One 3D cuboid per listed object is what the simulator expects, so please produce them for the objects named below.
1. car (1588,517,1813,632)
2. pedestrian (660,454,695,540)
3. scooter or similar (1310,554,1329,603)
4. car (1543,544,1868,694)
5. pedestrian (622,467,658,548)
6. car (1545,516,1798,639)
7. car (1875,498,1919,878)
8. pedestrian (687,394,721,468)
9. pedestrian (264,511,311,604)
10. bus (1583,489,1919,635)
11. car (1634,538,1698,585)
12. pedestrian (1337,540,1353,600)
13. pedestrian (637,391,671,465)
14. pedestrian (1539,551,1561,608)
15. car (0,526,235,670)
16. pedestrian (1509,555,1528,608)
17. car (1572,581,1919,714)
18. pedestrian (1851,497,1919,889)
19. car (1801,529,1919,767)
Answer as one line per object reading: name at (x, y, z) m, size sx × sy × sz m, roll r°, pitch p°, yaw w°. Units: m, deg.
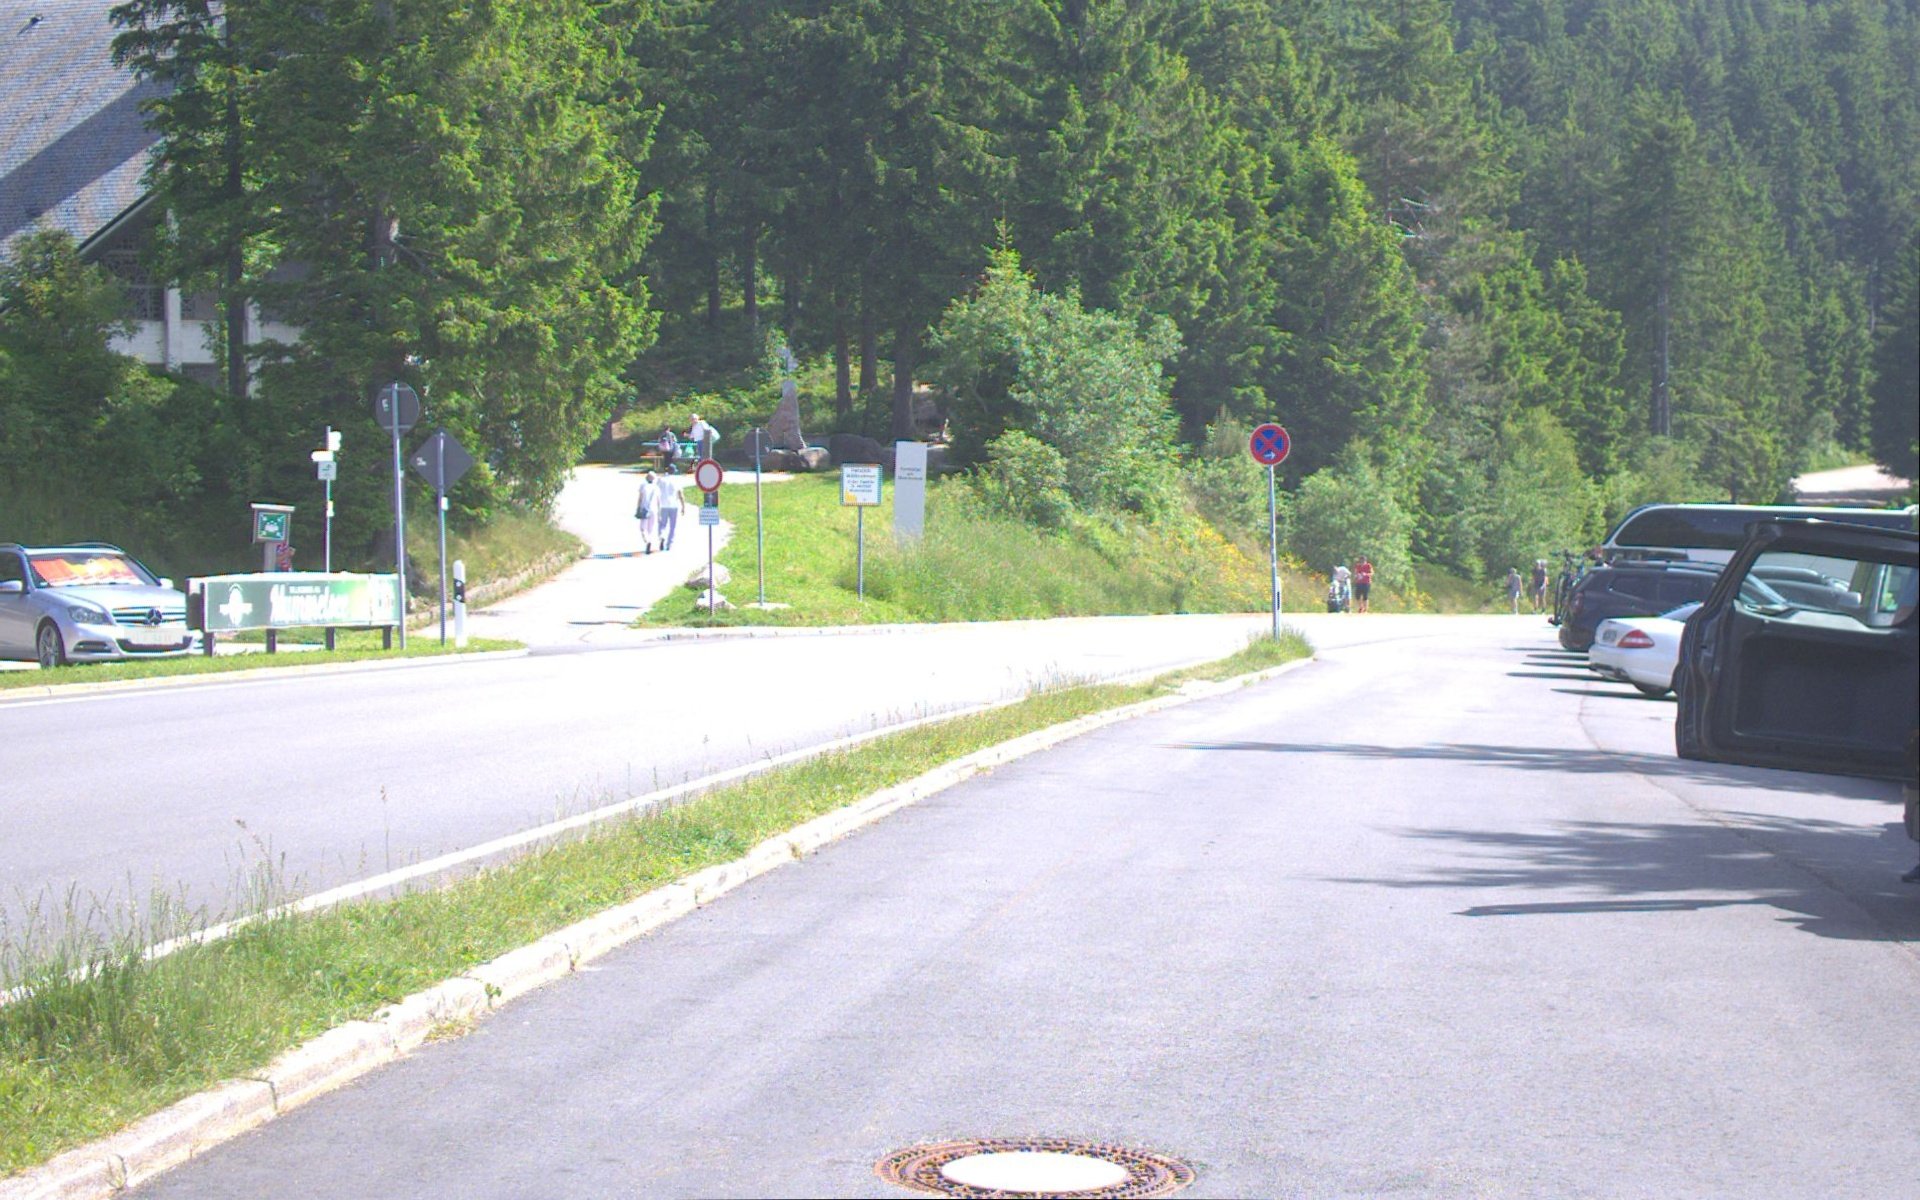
car at (14.010, -0.507, 65.166) m, size 3.989 × 1.808 × 1.939 m, roll 4°, pitch 3°, yaw 11°
pedestrian at (-5.909, -2.155, 71.921) m, size 0.652 × 1.793 × 0.643 m, roll 0°, pitch 1°, yaw 3°
scooter or similar at (10.475, -0.628, 100.113) m, size 0.483 × 1.375 × 0.817 m, roll -1°, pitch 2°, yaw 9°
car at (10.338, 0.241, 47.904) m, size 3.987 × 1.693 × 2.000 m, roll 4°, pitch 2°, yaw 2°
pedestrian at (-6.616, -1.910, 71.141) m, size 0.652 × 1.661 × 0.643 m, roll 0°, pitch -1°, yaw 3°
car at (11.967, -0.406, 58.067) m, size 3.989 × 1.713 × 1.867 m, roll 4°, pitch 3°, yaw 9°
car at (6.335, 0.560, 14.970) m, size 3.985 × 1.656 × 2.001 m, roll 5°, pitch 0°, yaw -19°
pedestrian at (-7.057, -4.651, 94.673) m, size 0.815 × 2.006 × 0.853 m, roll -1°, pitch 2°, yaw 1°
pedestrian at (-11.213, -0.717, 57.369) m, size 0.577 × 1.527 × 0.552 m, roll -1°, pitch 2°, yaw 9°
bus at (23.061, -1.023, 90.202) m, size 12.878 × 3.565 × 2.978 m, roll 2°, pitch 3°, yaw 26°
car at (26.155, -1.435, 127.281) m, size 1.995 × 1.656 × 3.997 m, roll 1°, pitch 1°, yaw 16°
pedestrian at (11.352, -0.890, 101.327) m, size 0.395 × 1.741 × 0.406 m, roll -1°, pitch 2°, yaw 12°
pedestrian at (-8.356, -4.702, 93.966) m, size 0.797 × 2.006 × 0.940 m, roll -1°, pitch 2°, yaw 1°
pedestrian at (20.962, -0.724, 122.158) m, size 0.733 × 2.007 × 0.862 m, roll -1°, pitch -1°, yaw 9°
car at (-9.614, -0.051, 37.525) m, size 1.739 × 1.436 × 3.969 m, roll -3°, pitch 2°, yaw -38°
pedestrian at (20.016, -0.657, 123.158) m, size 0.622 × 1.893 × 0.654 m, roll -1°, pitch -1°, yaw 9°
car at (10.184, 0.604, 43.438) m, size 4.452 × 1.294 × 1.583 m, roll 5°, pitch 2°, yaw -7°
pedestrian at (4.530, 0.423, 15.745) m, size 0.578 × 1.754 × 0.633 m, roll 3°, pitch 1°, yaw -6°
car at (8.893, 0.416, 31.214) m, size 1.906 × 1.965 × 4.818 m, roll 5°, pitch 2°, yaw 9°
